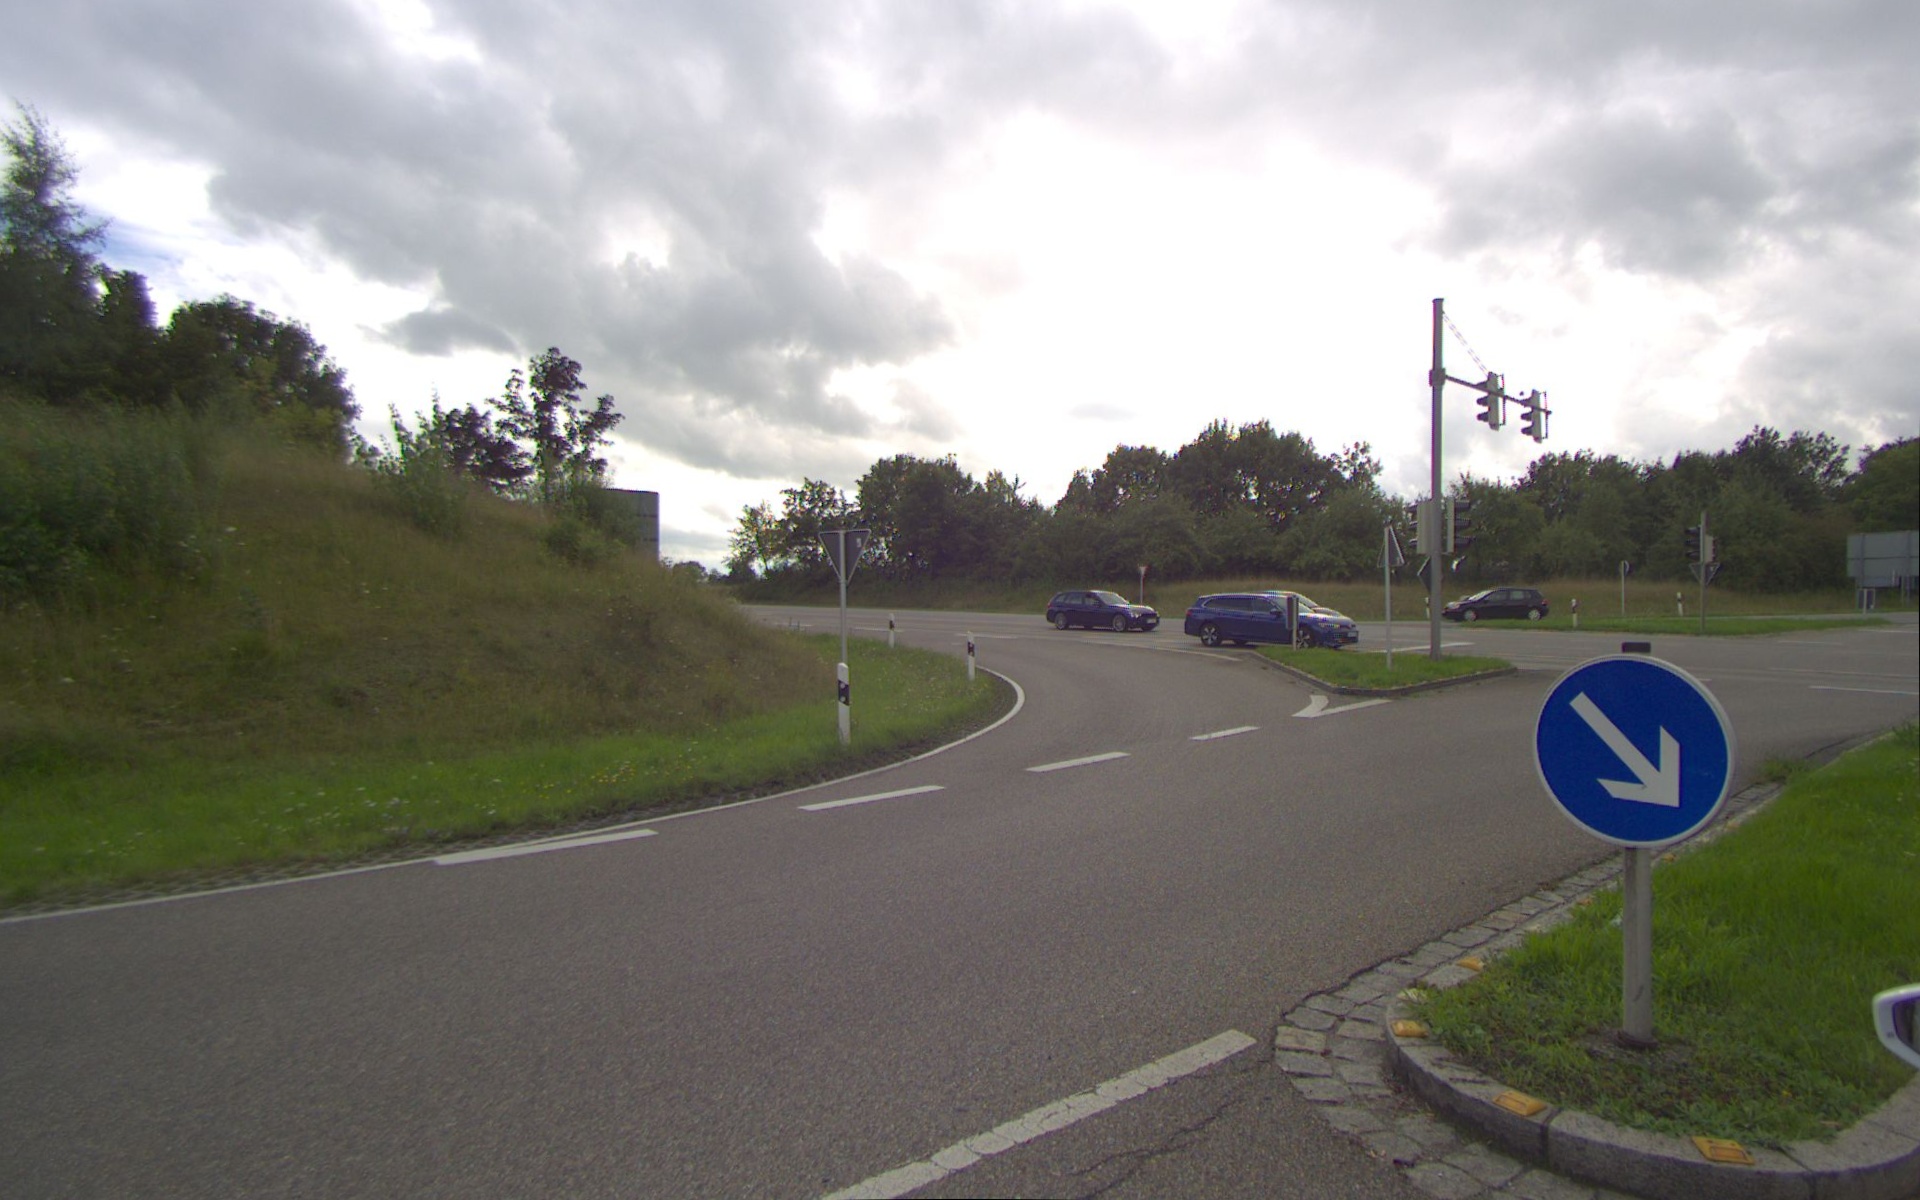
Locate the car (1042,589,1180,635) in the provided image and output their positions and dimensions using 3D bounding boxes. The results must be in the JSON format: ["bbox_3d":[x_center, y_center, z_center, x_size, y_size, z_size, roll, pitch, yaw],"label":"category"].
[{"bbox_3d":[5.455,0.369,36.749,2.040,1.504,4.820,-2,2,-43],"label":"car"}]

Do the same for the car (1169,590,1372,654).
[{"bbox_3d":[8.488,0.535,27.816,2.038,1.555,5.060,-1,2,-44],"label":"car"}]
